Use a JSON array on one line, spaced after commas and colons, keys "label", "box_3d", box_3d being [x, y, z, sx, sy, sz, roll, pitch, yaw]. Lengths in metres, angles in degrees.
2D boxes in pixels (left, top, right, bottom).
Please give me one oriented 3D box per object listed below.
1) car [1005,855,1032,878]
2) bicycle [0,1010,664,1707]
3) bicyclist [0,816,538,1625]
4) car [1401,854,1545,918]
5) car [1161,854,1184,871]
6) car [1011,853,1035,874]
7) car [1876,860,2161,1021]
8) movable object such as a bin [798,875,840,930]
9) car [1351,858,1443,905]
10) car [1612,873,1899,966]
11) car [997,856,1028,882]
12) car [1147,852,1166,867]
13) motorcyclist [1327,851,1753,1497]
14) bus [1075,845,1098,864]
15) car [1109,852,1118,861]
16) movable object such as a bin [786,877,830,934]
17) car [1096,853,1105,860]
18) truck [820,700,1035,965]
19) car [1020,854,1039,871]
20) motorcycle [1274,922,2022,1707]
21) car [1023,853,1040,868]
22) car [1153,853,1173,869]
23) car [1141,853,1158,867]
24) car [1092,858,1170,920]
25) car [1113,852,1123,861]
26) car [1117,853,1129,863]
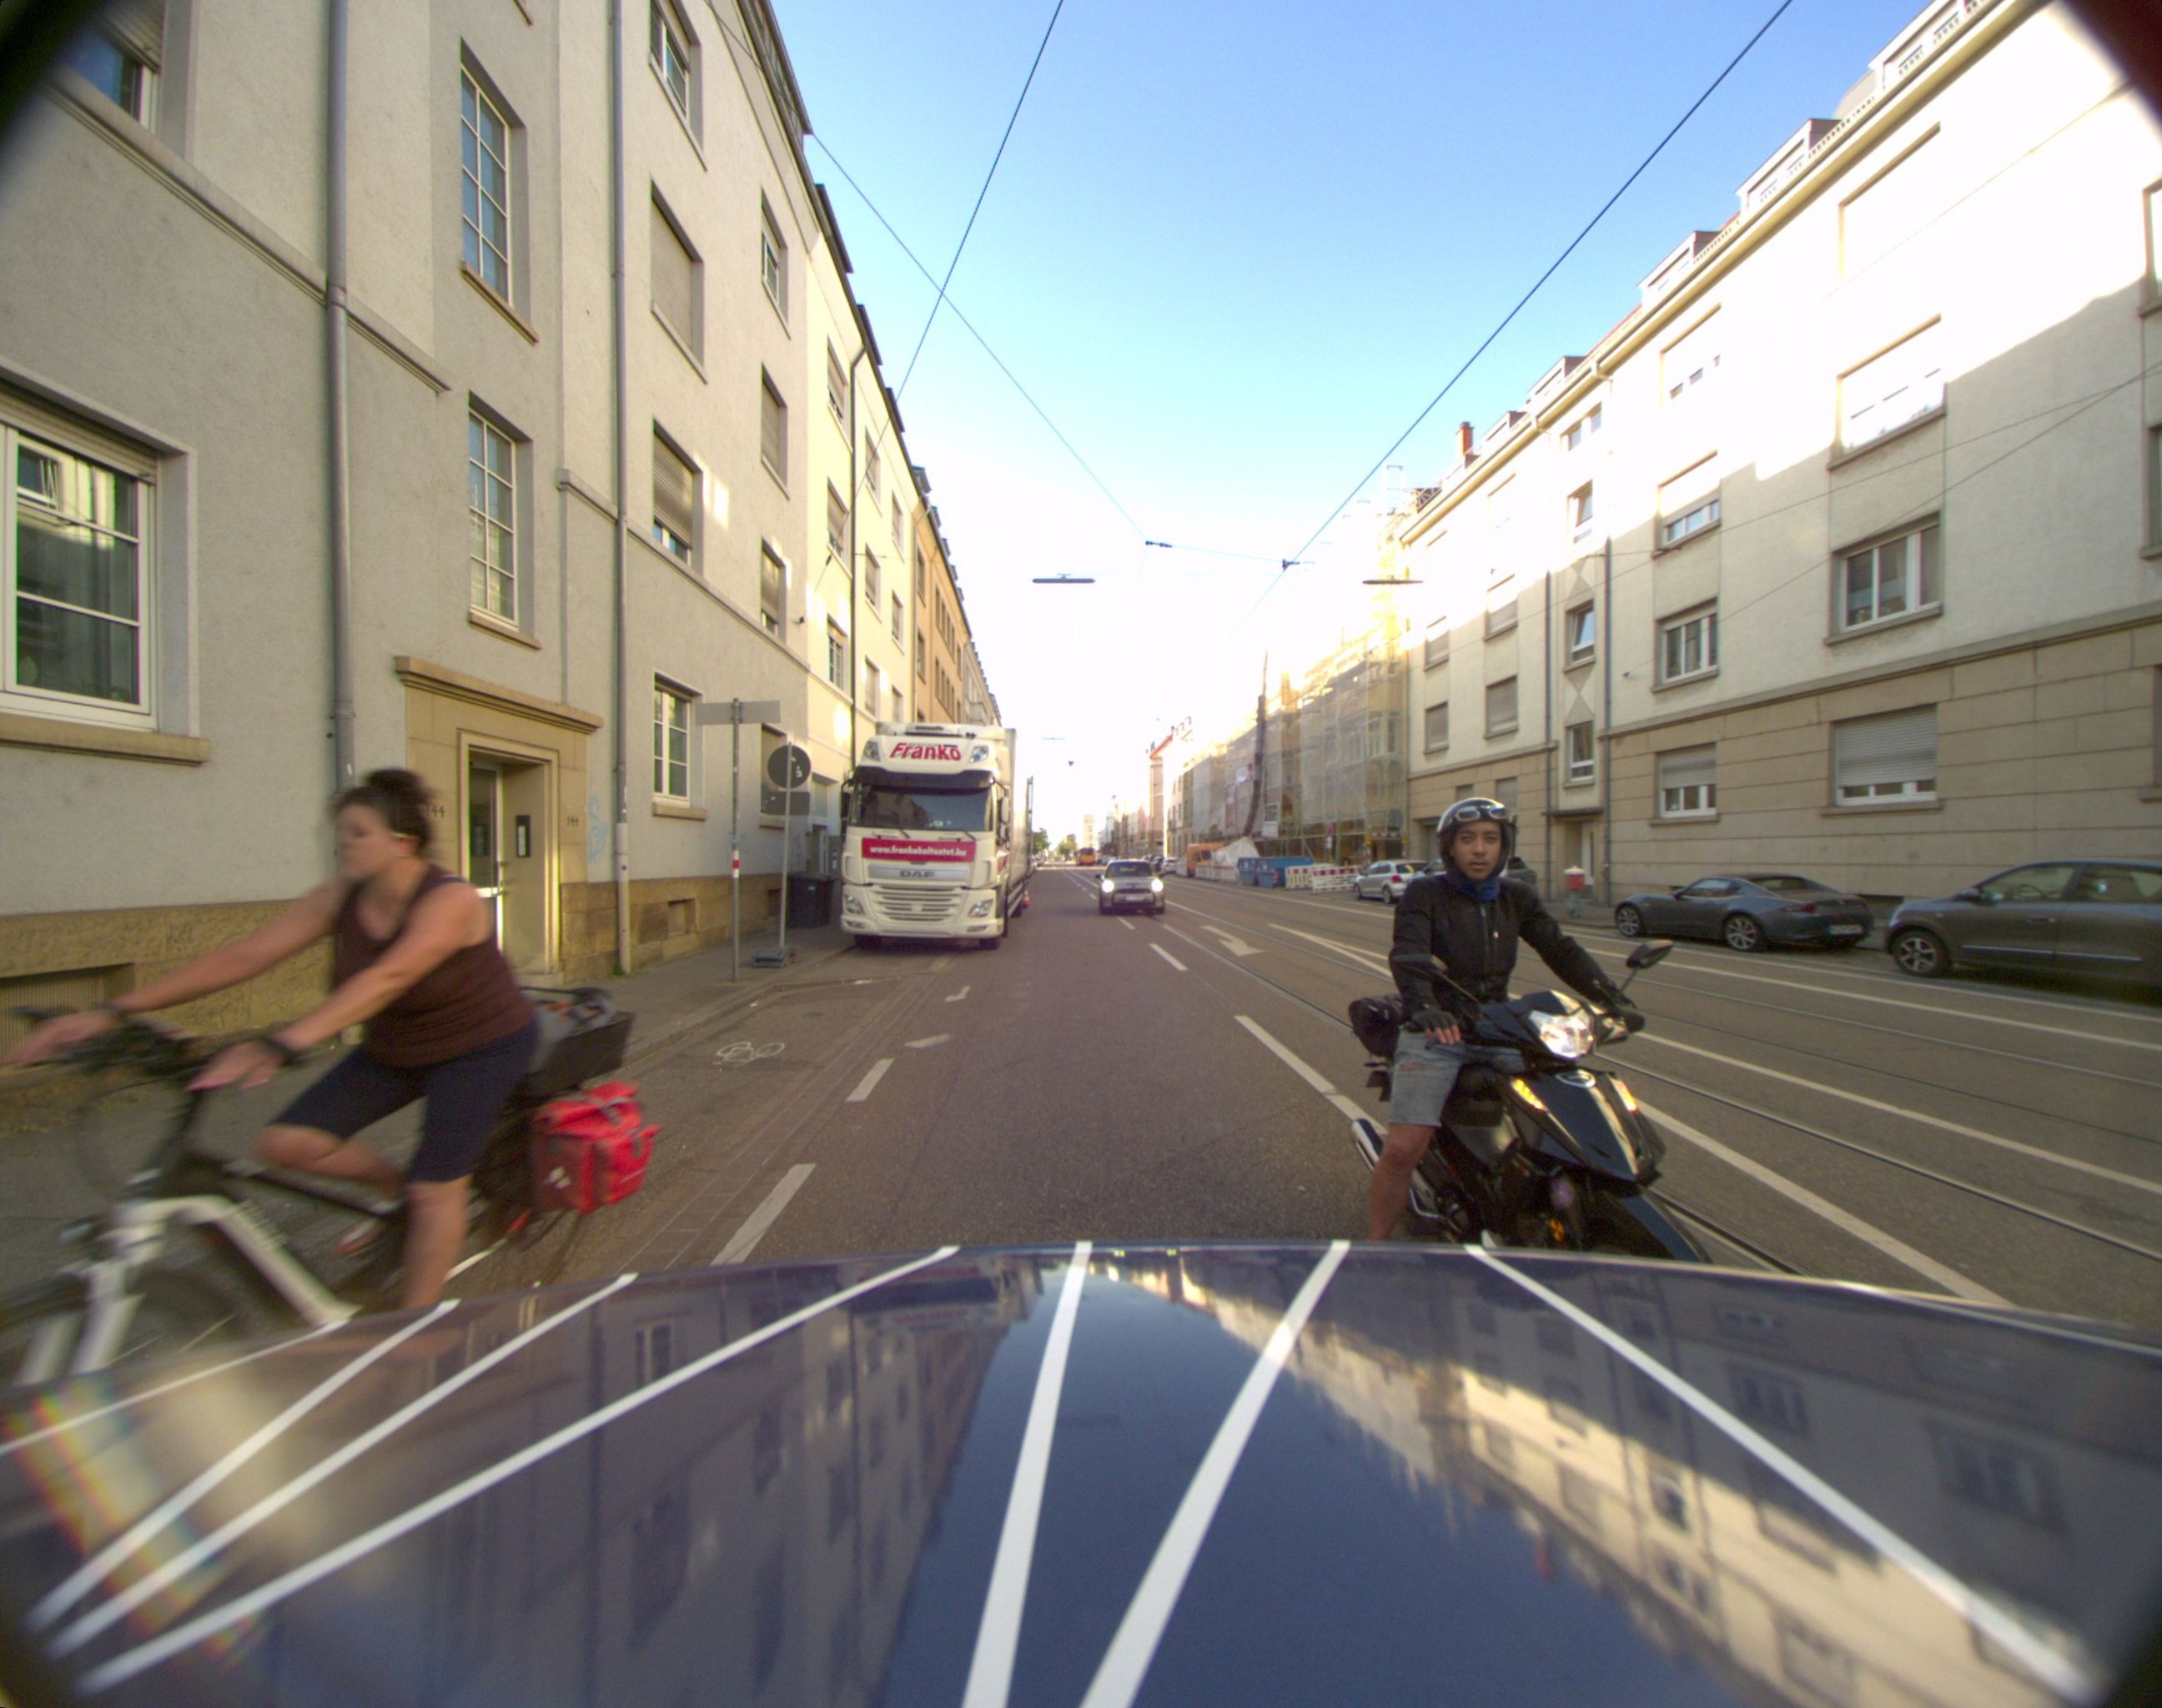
[{"label": "car", "box_3d": [-4.306, 0.828, 52.977, 1.685, 1.522, 4.148, -2, 0, -3]}, {"label": "bicycle", "box_3d": [-1.993, 1.144, 1.923, 0.618, 1.097, 1.887, 0, 0, 8]}, {"label": "bicyclist", "box_3d": [-1.988, 0.735, 1.933, 0.618, 1.620, 0.760, 0, 1, 8]}, {"label": "car", "box_3d": [10.808, 0.806, 21.319, 1.696, 1.590, 4.206, -1, 0, -3]}, {"label": "car", "box_3d": [8.567, 0.762, 71.101, 1.684, 1.478, 3.966, -2, 0, 1]}, {"label": "car", "box_3d": [-4.515, 0.745, 59.146, 1.685, 1.522, 4.148, -2, 0, -3]}, {"label": "car", "box_3d": [11.415, 0.860, 8.308, 1.679, 1.519, 3.539, -1, 0, -3]}, {"label": "movable object such as a bin", "box_3d": [-5.402, 0.996, 15.697, 0.666, 1.087, 0.570, 0, 1, -2]}, {"label": "car", "box_3d": [10.607, 0.882, 25.767, 1.543, 1.404, 3.510, -1, 0, -3]}, {"label": "car", "box_3d": [11.178, 1.000, 12.970, 1.520, 1.227, 3.685, -1, 0, -3]}, {"label": "car", "box_3d": [-4.179, 0.895, 47.175, 1.685, 1.522, 4.148, -2, 0, -3]}, {"label": "car", "box_3d": [8.240, 0.618, 83.171, 1.684, 1.573, 3.966, -2, 0, 1]}, {"label": "motorcyclist", "box_3d": [1.307, 0.815, 2.378, 0.791, 1.645, 0.900, 0, 1, 1]}, {"label": "bus", "box_3d": [0.875, 0.022, 133.643, 2.755, 3.095, 19.156, 0, 0, -3]}, {"label": "car", "box_3d": [5.951, 0.447, 139.332, 1.684, 1.478, 3.966, -2, 0, 1]}, {"label": "movable object such as a bin", "box_3d": [-5.385, 1.004, 15.028, 0.666, 1.087, 0.570, 0, 1, -2]}, {"label": "car", "box_3d": [4.250, 0.621, 167.800, 1.684, 1.478, 3.965, -2, 0, -1]}, {"label": "truck", "box_3d": [-2.628, -0.323, 17.168, 2.782, 3.903, 11.816, 0, 0, -2]}, {"label": "car", "box_3d": [-4.861, 0.748, 72.086, 1.685, 1.522, 4.148, -2, 0, -3]}, {"label": "motorcycle", "box_3d": [1.307, 0.971, 2.508, 0.791, 1.284, 2.273, 0, 0, 1]}, {"label": "car", "box_3d": [-5.355, 0.648, 82.732, 1.685, 1.522, 4.148, -2, 0, -3]}, {"label": "car", "box_3d": [8.262, 0.707, 76.798, 1.684, 1.478, 3.966, -2, 0, 1]}, {"label": "car", "box_3d": [7.929, 0.655, 87.868, 1.684, 1.478, 3.966, -2, 0, 1]}, {"label": "car", "box_3d": [1.275, 0.879, 20.985, 1.685, 1.454, 4.148, -2, 0, -3]}, {"label": "car", "box_3d": [6.524, 0.468, 134.389, 1.684, 1.478, 3.966, -2, 0, 1]}, {"label": "car", "box_3d": [6.592, 0.626, 118.623, 1.684, 1.478, 3.966, -2, 0, 1]}]
